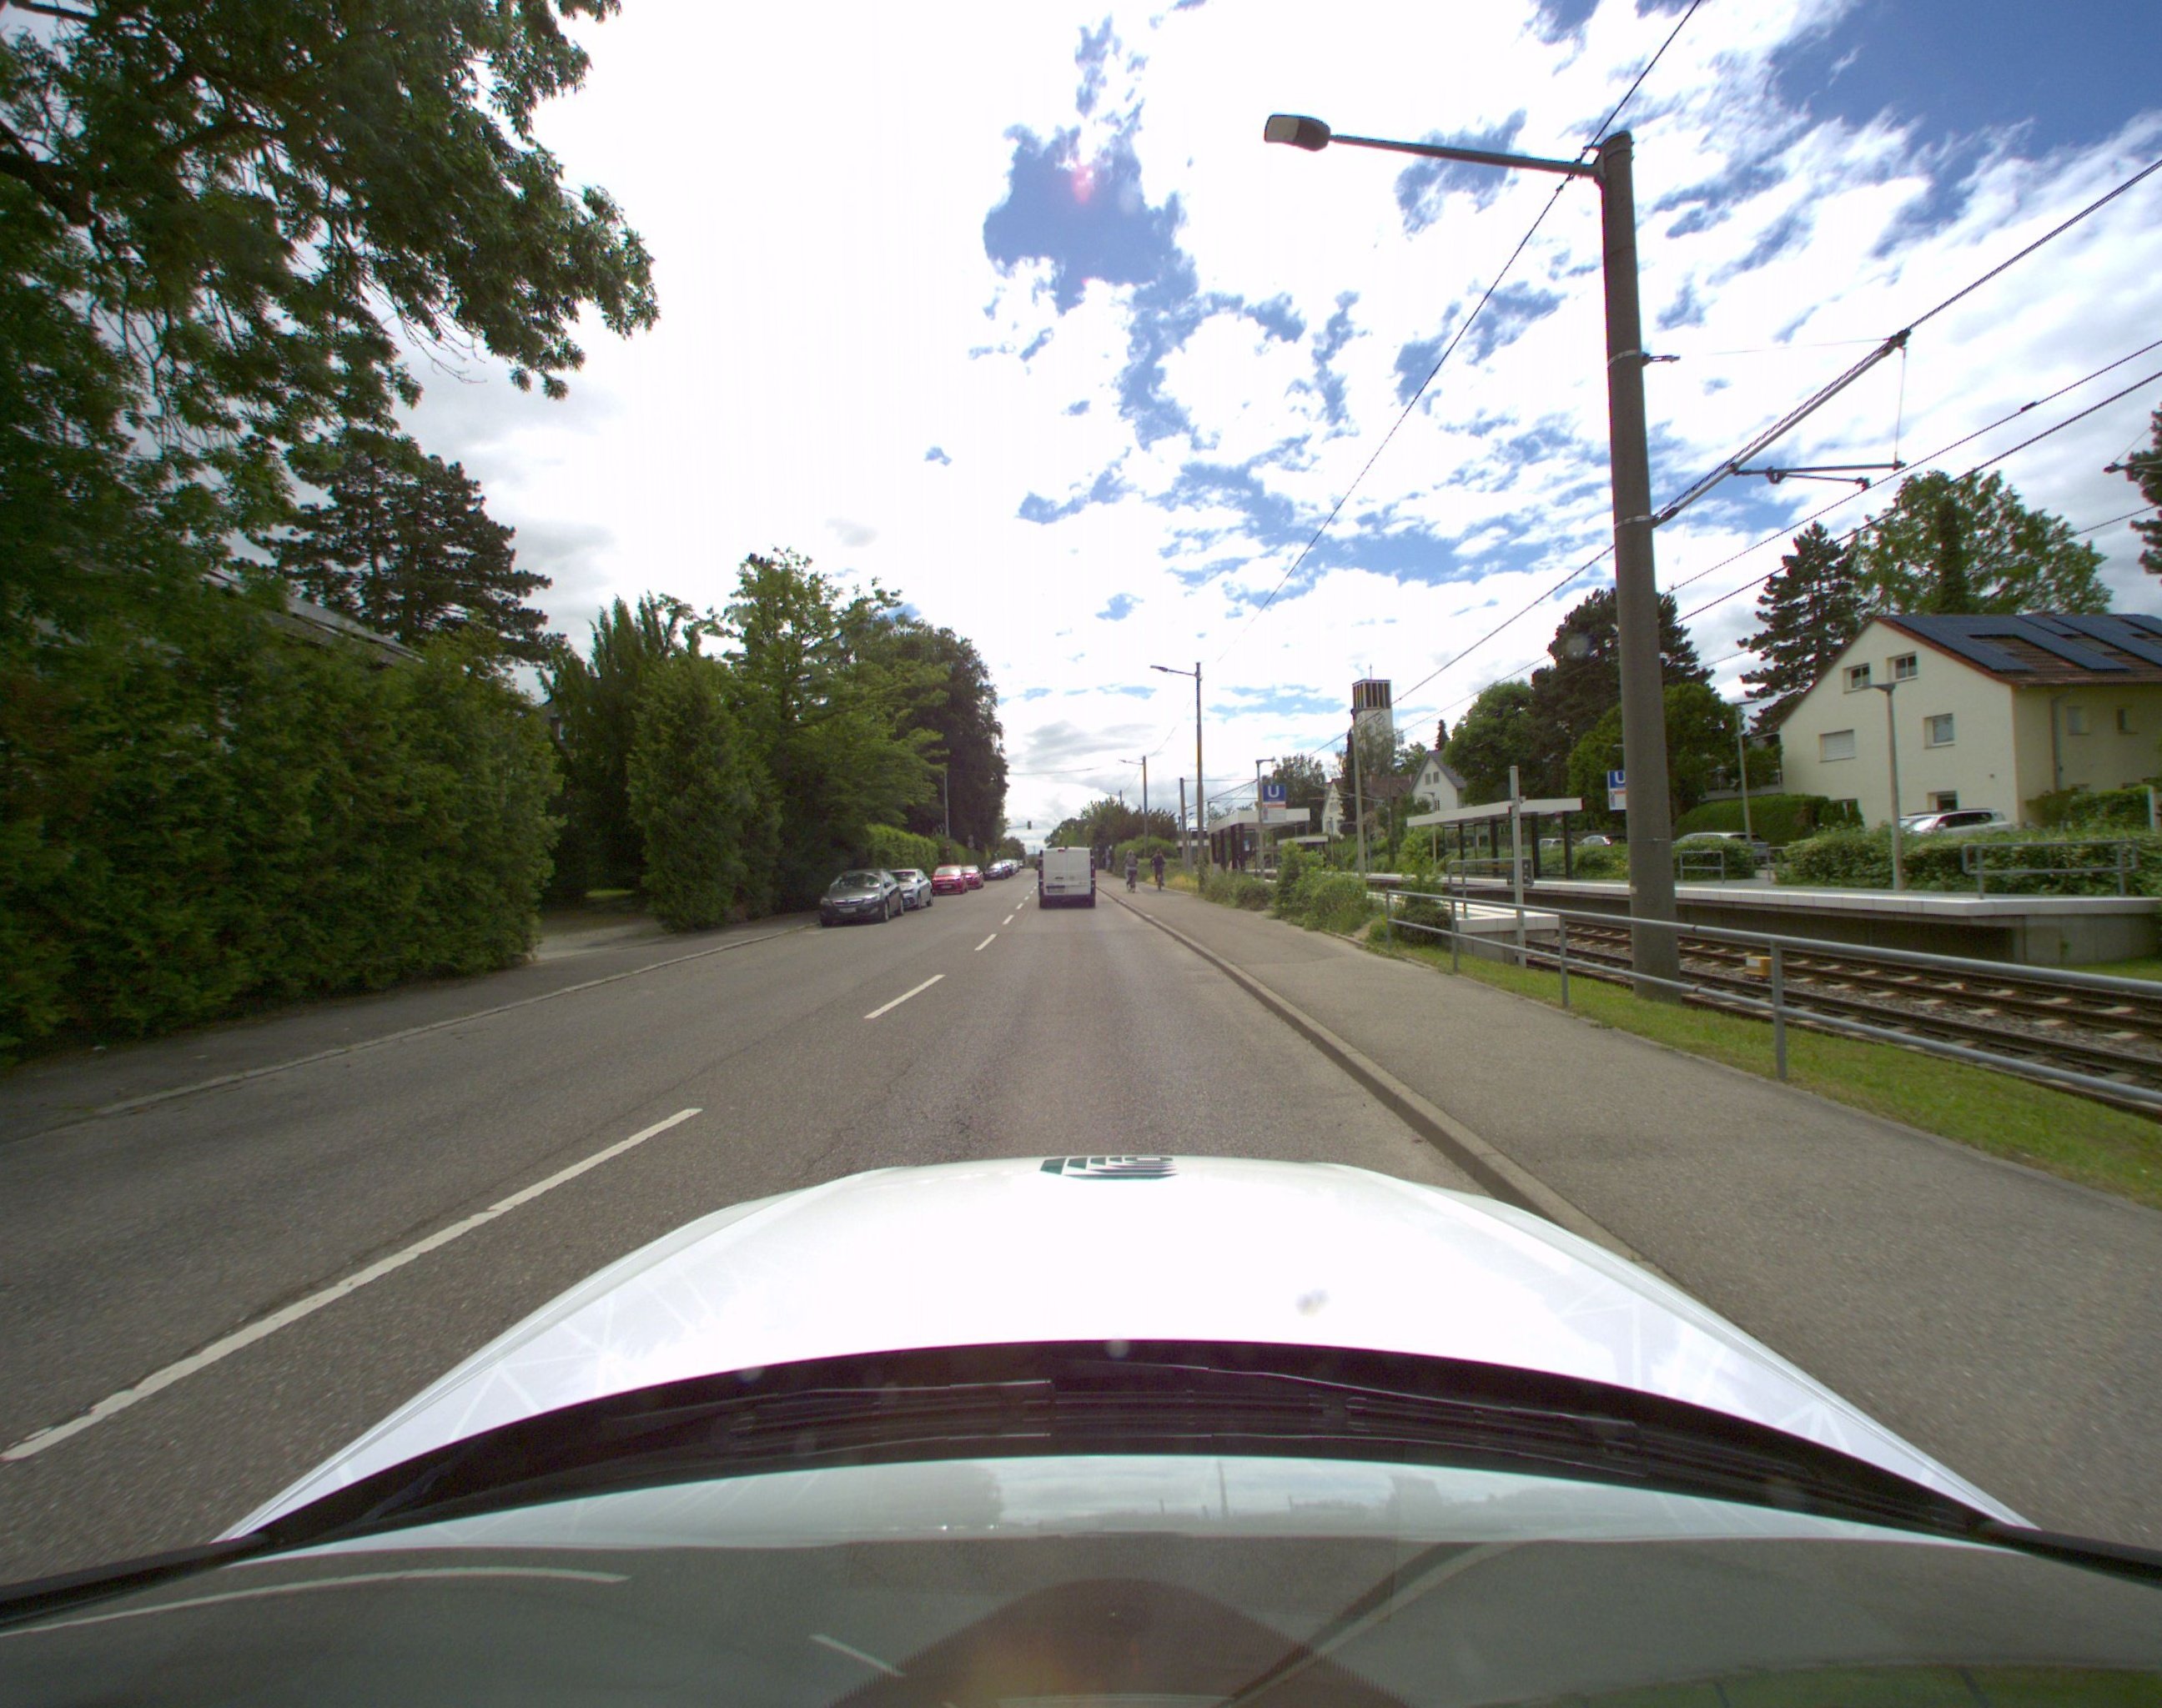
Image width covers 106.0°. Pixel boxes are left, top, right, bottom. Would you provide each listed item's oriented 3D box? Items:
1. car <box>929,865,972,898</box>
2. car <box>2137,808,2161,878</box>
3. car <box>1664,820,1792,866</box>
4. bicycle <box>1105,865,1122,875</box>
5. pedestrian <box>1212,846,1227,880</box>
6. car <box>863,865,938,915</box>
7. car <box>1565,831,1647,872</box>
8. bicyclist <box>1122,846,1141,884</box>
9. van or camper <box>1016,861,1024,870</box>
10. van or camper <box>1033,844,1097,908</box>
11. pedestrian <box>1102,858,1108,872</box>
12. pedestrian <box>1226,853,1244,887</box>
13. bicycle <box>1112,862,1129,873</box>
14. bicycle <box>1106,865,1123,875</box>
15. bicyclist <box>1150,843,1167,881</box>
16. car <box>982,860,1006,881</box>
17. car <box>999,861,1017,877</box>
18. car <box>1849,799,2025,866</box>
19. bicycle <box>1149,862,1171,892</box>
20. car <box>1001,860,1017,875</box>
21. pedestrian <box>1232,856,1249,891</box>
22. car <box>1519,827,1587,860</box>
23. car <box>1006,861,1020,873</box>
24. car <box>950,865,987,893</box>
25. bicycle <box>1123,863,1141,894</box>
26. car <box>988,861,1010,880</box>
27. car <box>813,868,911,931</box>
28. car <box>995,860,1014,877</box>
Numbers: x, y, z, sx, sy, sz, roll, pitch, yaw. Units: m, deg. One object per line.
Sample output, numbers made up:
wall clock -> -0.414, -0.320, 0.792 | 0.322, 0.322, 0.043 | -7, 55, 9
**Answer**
car -> -6.628, 1.373, 41.775 | 1.584, 1.505, 3.513 | -3, 0, -1
car -> 24.374, -0.277, 16.116 | 1.875, 1.522, 4.005 | -2, -1, 5
car -> 25.448, -0.386, 32.216 | 1.771, 1.662, 3.997 | -1, 0, -2
bicycle -> 3.359, 1.628, 83.710 | 1.695, 1.030, 0.490 | -1, -1, -3
pedestrian -> 7.195, 0.478, 42.323 | 0.633, 1.725, 0.658 | -1, -1, 15
car -> -6.354, 1.232, 29.039 | 1.731, 1.505, 3.961 | -3, 0, -1
car -> 25.873, -0.075, 40.287 | 1.725, 1.914, 3.938 | 0, -1, 4
bicyclist -> 2.155, 0.466, 34.922 | 0.715, 1.612, 0.757 | -1, 0, -2
van or camper -> -15.830, 3.000, 211.747 | 2.000, 2.261, 4.606 | -1, 0, -4
van or camper -> -0.553, 0.719, 27.871 | 1.988, 2.014, 4.443 | 0, -1, -1
pedestrian -> 3.064, 1.395, 104.753 | 0.671, 1.696, 0.522 | -1, 0, 3
pedestrian -> 6.411, 0.670, 33.912 | 0.580, 1.380, 0.739 | -1, 0, -1
bicycle -> 3.941, 1.345, 81.030 | 1.695, 1.030, 0.490 | -1, -1, -3
bicycle -> 3.404, 1.623, 83.132 | 1.695, 1.030, 0.490 | -1, -1, -3
bicyclist -> 3.439, 0.344, 36.098 | 0.637, 1.650, 0.818 | -1, 0, -2
car -> -7.464, 1.416, 70.137 | 1.758, 1.626, 4.181 | -3, 0, -3
car -> -8.222, 1.664, 91.928 | 1.758, 1.656, 3.811 | -3, 0, -3
car -> 29.683, -0.717, 28.313 | 4.317, 1.943, 1.745 | -4, 0, -3
bicycle -> 3.477, 1.016, 36.089 | 0.617, 1.246, 2.394 | -1, 0, -2
car -> -8.750, 1.631, 98.879 | 1.758, 1.756, 3.811 | -3, 0, -3
pedestrian -> 6.221, 0.753, 31.802 | 0.489, 1.344, 0.392 | -1, 0, -30
car -> 26.296, -0.560, 45.525 | 1.724, 1.751, 3.940 | -1, 0, 5
car -> -9.357, 1.799, 112.418 | 1.758, 1.557, 3.811 | -3, 0, -3
car -> -6.684, 1.444, 48.717 | 1.758, 1.471, 4.181 | -3, 0, -3
bicycle -> 2.169, 1.030, 34.949 | 0.545, 1.246, 2.053 | -1, 0, -2
car -> -7.607, 1.484, 76.015 | 1.758, 1.656, 4.056 | -3, 0, -3
car -> -6.193, 1.224, 23.546 | 1.733, 1.505, 4.473 | -3, 0, -3
car -> -8.108, 1.544, 86.331 | 1.758, 1.656, 3.811 | -3, 0, -3
